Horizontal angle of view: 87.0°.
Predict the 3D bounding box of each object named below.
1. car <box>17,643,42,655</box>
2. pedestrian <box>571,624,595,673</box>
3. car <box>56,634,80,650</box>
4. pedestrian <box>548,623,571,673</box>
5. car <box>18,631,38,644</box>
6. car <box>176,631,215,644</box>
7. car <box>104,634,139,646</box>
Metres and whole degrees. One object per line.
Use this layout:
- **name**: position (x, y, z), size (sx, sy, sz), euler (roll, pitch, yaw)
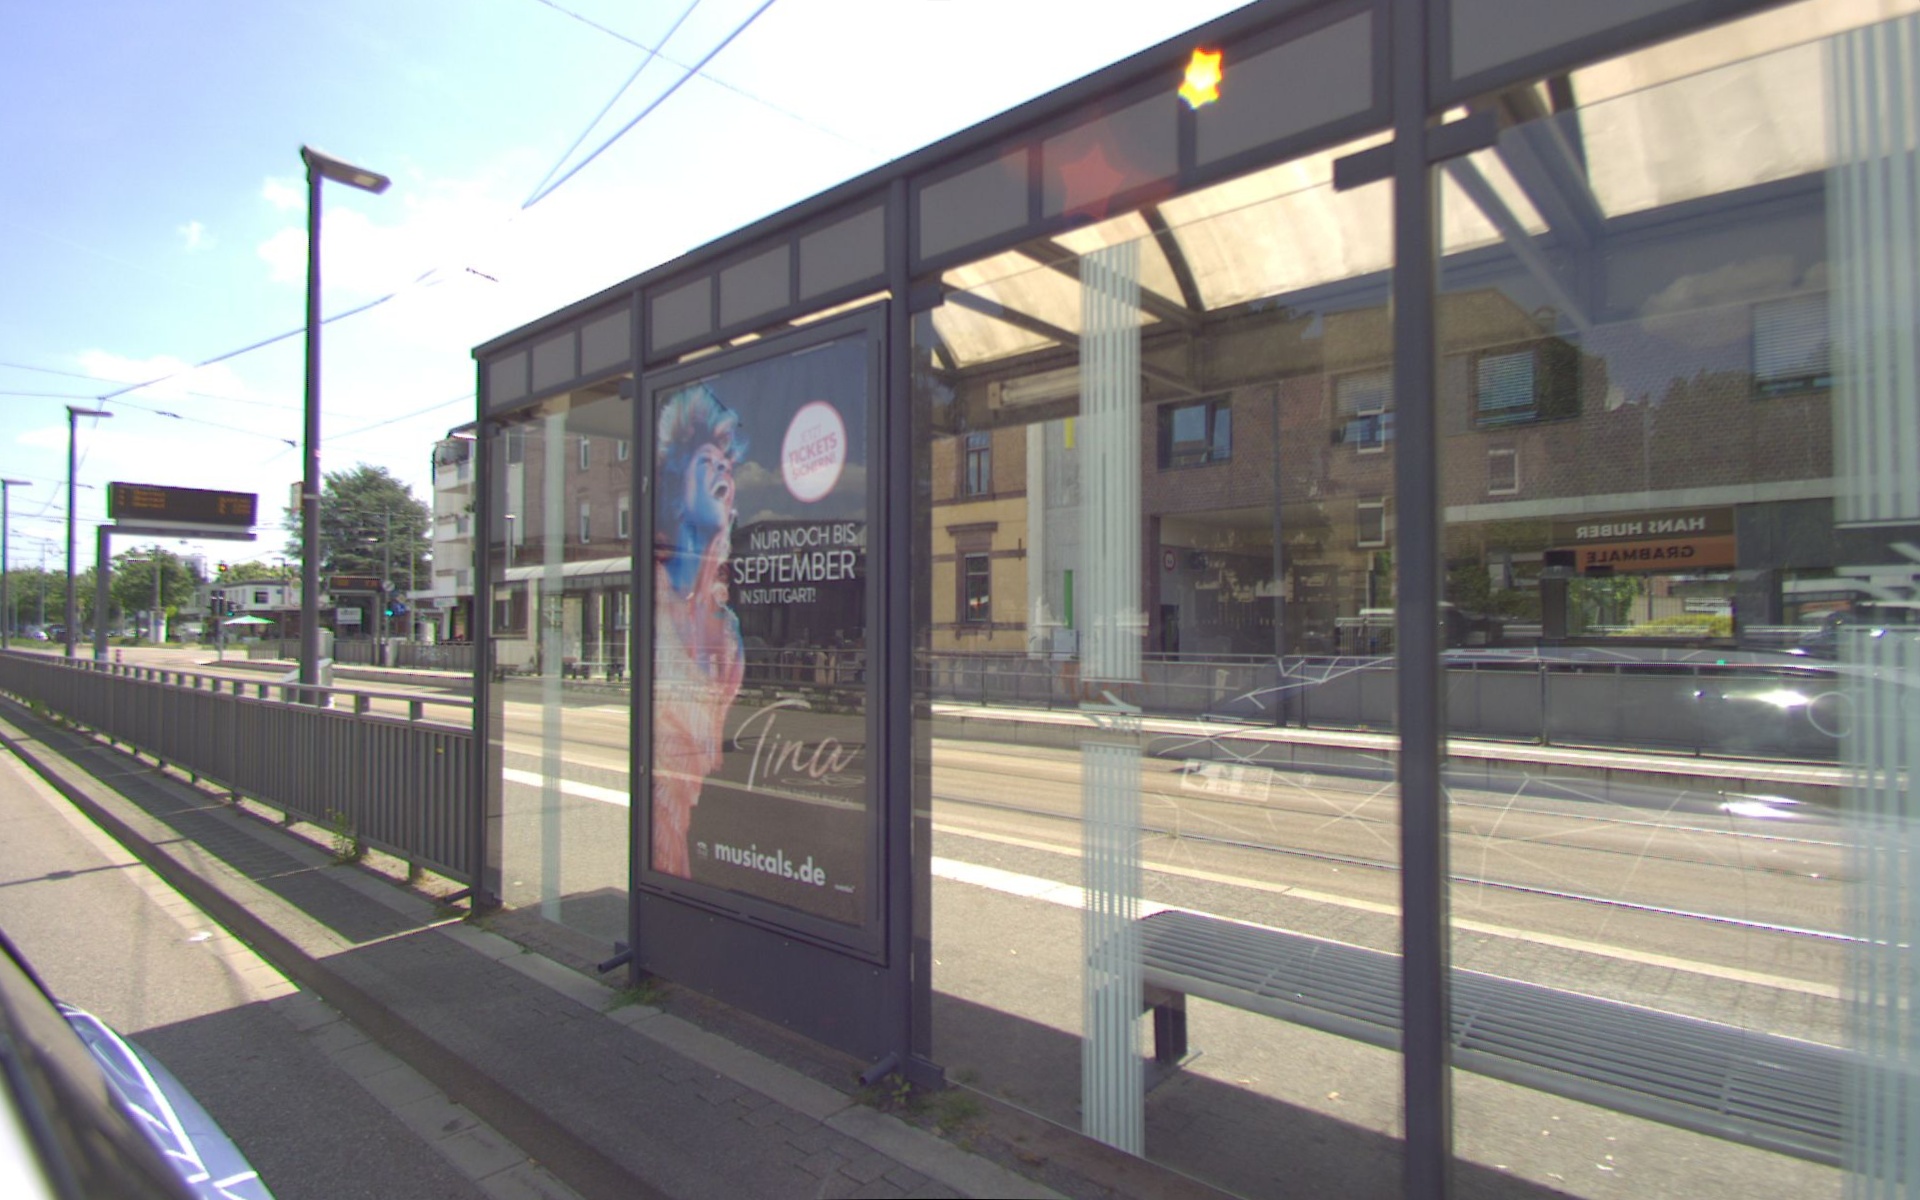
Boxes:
- **car**: position (-121.051, 6.375, 131.612), size (4.400, 1.483, 1.972), euler (-2, -3, 42)
- **pedestrian**: position (-15.935, 2.051, 42.800), size (0.810, 2.029, 0.611), euler (-2, -3, 41)
- **car**: position (-101.470, 4.809, 115.069), size (1.704, 1.696, 4.281), euler (3, -5, -45)
- **pedestrian**: position (-16.681, 1.998, 42.140), size (0.684, 2.029, 0.670), euler (-1, -1, 40)
- **car**: position (-164.267, 6.576, 178.353), size (4.487, 2.117, 2.045), euler (-1, 0, 41)
- **car**: position (-148.188, 7.240, 196.180), size (2.258, 2.500, 5.625), euler (-2, -3, 40)
- **car**: position (-132.065, 6.314, 159.376), size (1.803, 1.749, 3.943), euler (-1, -4, 43)
